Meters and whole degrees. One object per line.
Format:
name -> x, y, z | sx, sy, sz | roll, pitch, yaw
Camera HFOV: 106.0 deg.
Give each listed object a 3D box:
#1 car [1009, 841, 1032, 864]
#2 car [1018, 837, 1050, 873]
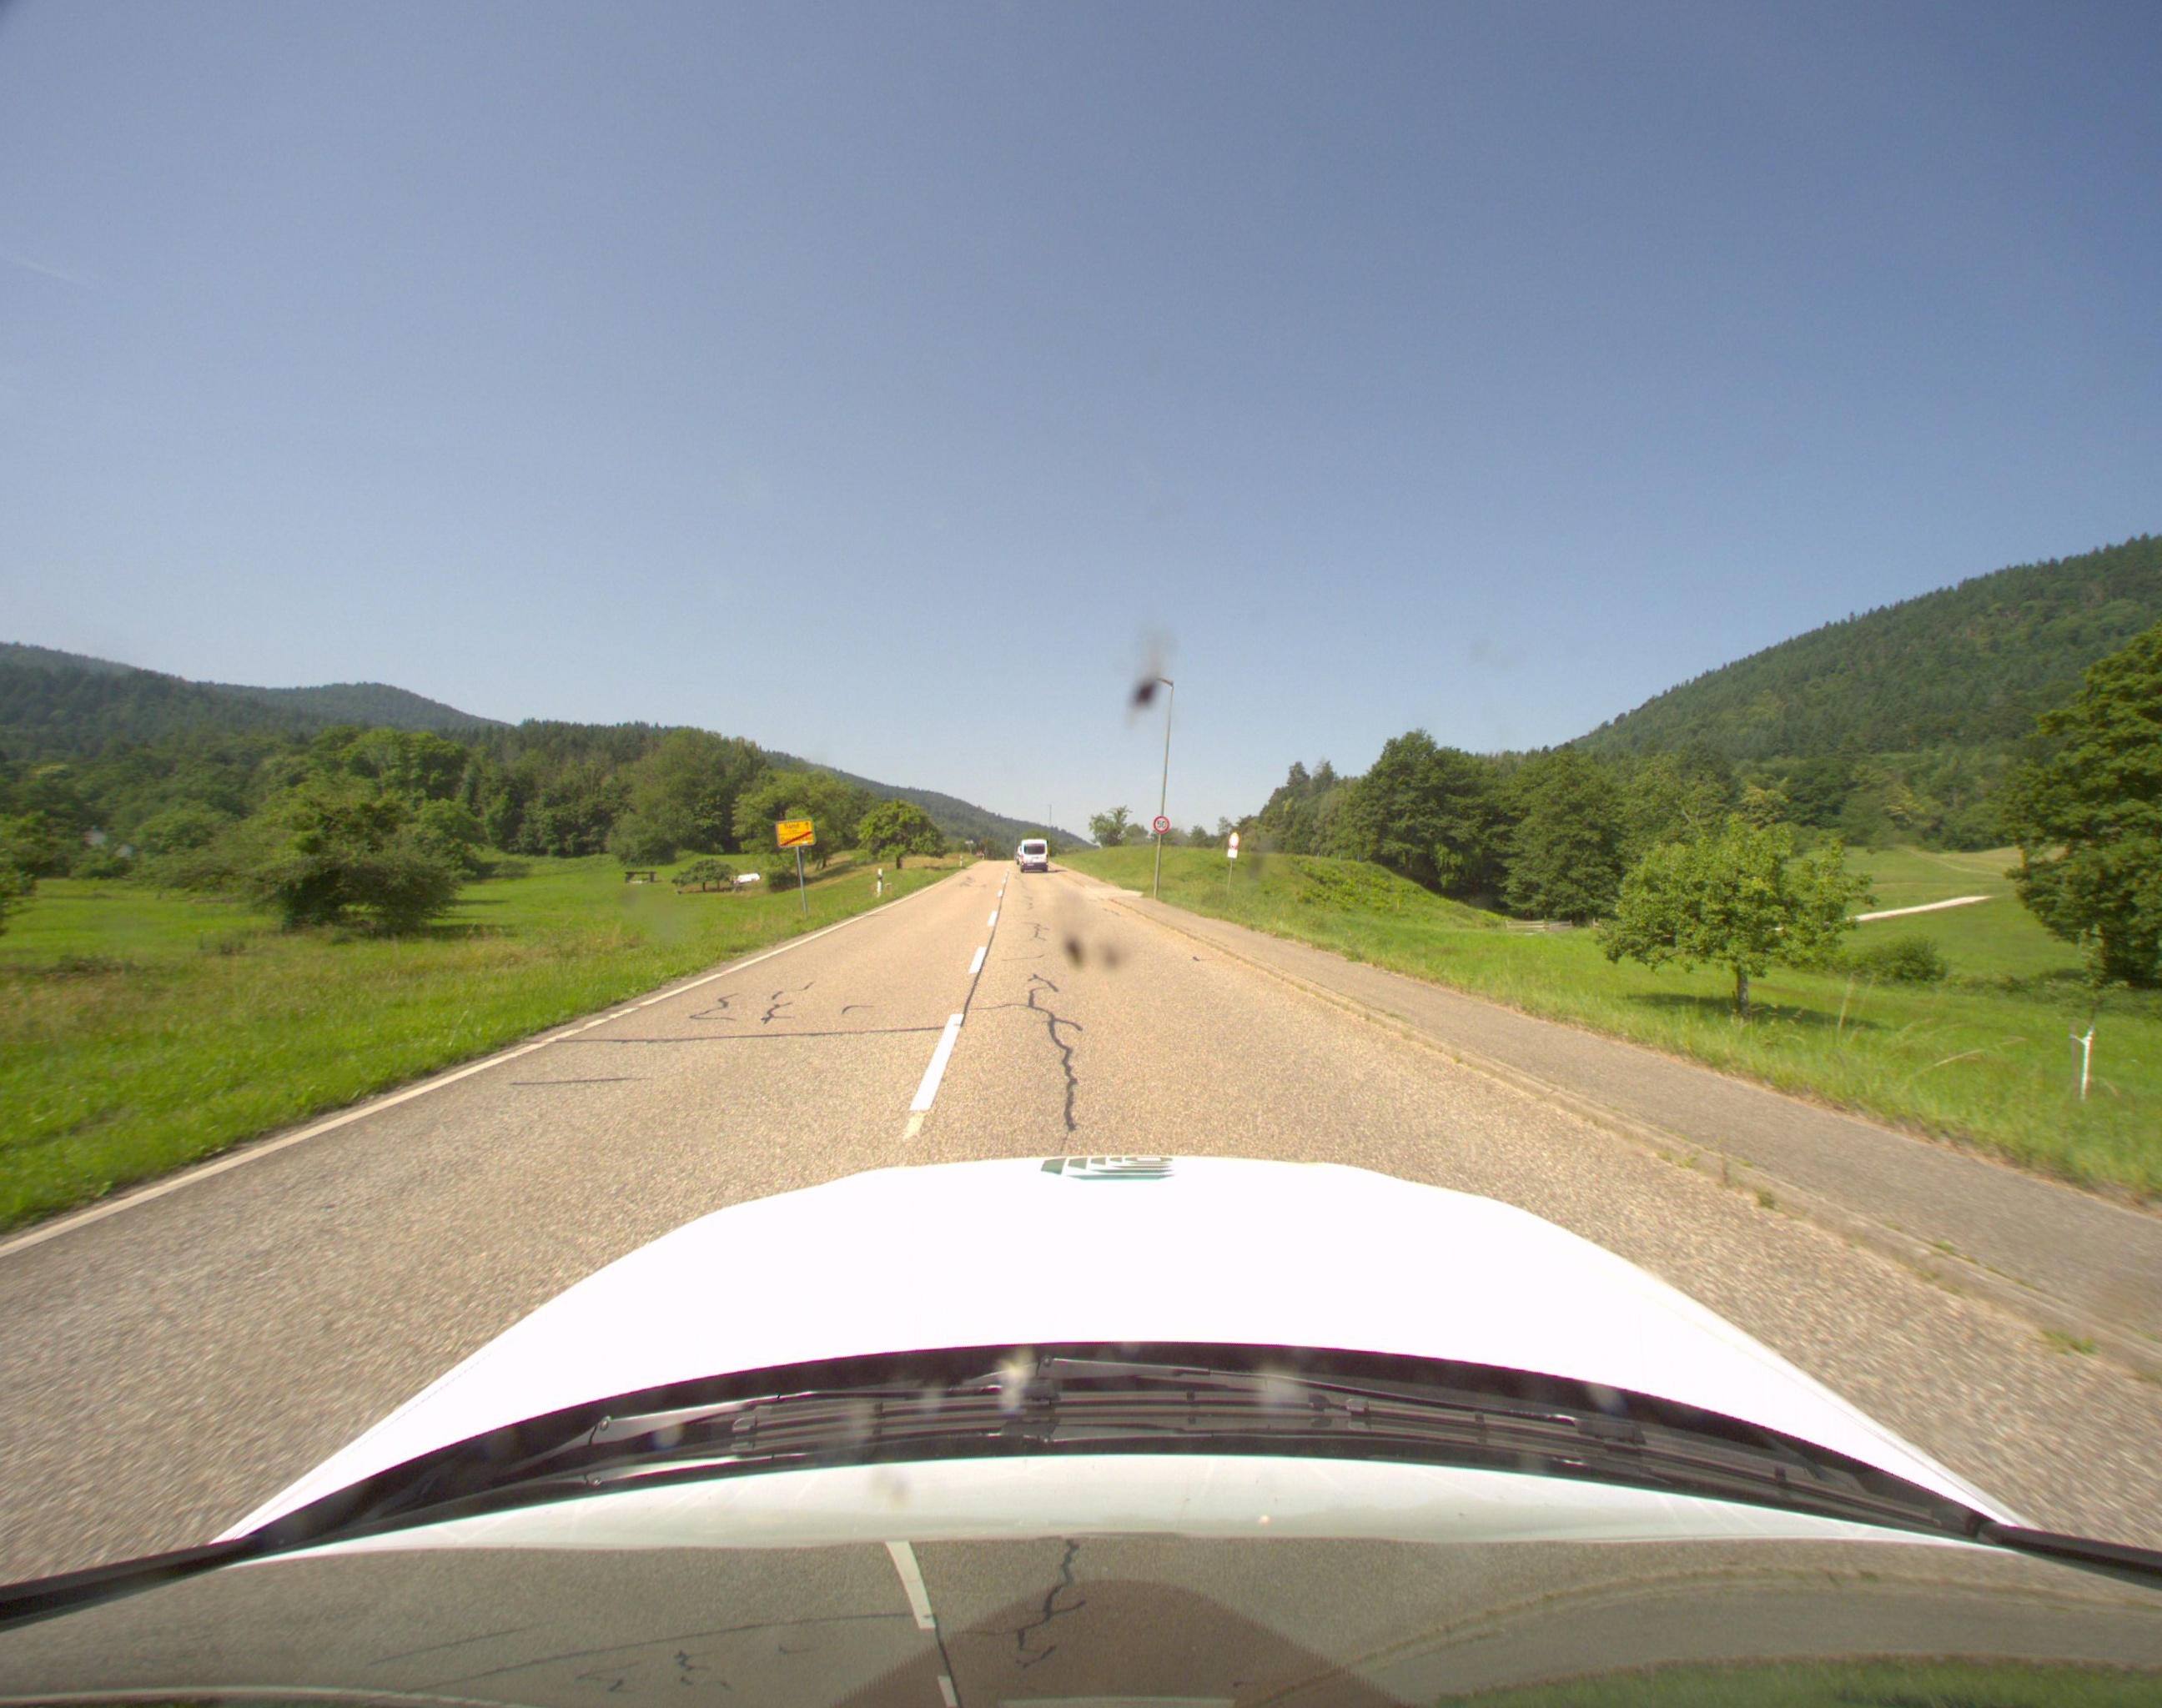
car -> -6.661, -0.157, 89.283 | 2.221, 2.287, 4.971 | -2, -2, -7
car -> -3.634, 0.159, 62.229 | 2.219, 2.526, 4.975 | -2, -2, -5
